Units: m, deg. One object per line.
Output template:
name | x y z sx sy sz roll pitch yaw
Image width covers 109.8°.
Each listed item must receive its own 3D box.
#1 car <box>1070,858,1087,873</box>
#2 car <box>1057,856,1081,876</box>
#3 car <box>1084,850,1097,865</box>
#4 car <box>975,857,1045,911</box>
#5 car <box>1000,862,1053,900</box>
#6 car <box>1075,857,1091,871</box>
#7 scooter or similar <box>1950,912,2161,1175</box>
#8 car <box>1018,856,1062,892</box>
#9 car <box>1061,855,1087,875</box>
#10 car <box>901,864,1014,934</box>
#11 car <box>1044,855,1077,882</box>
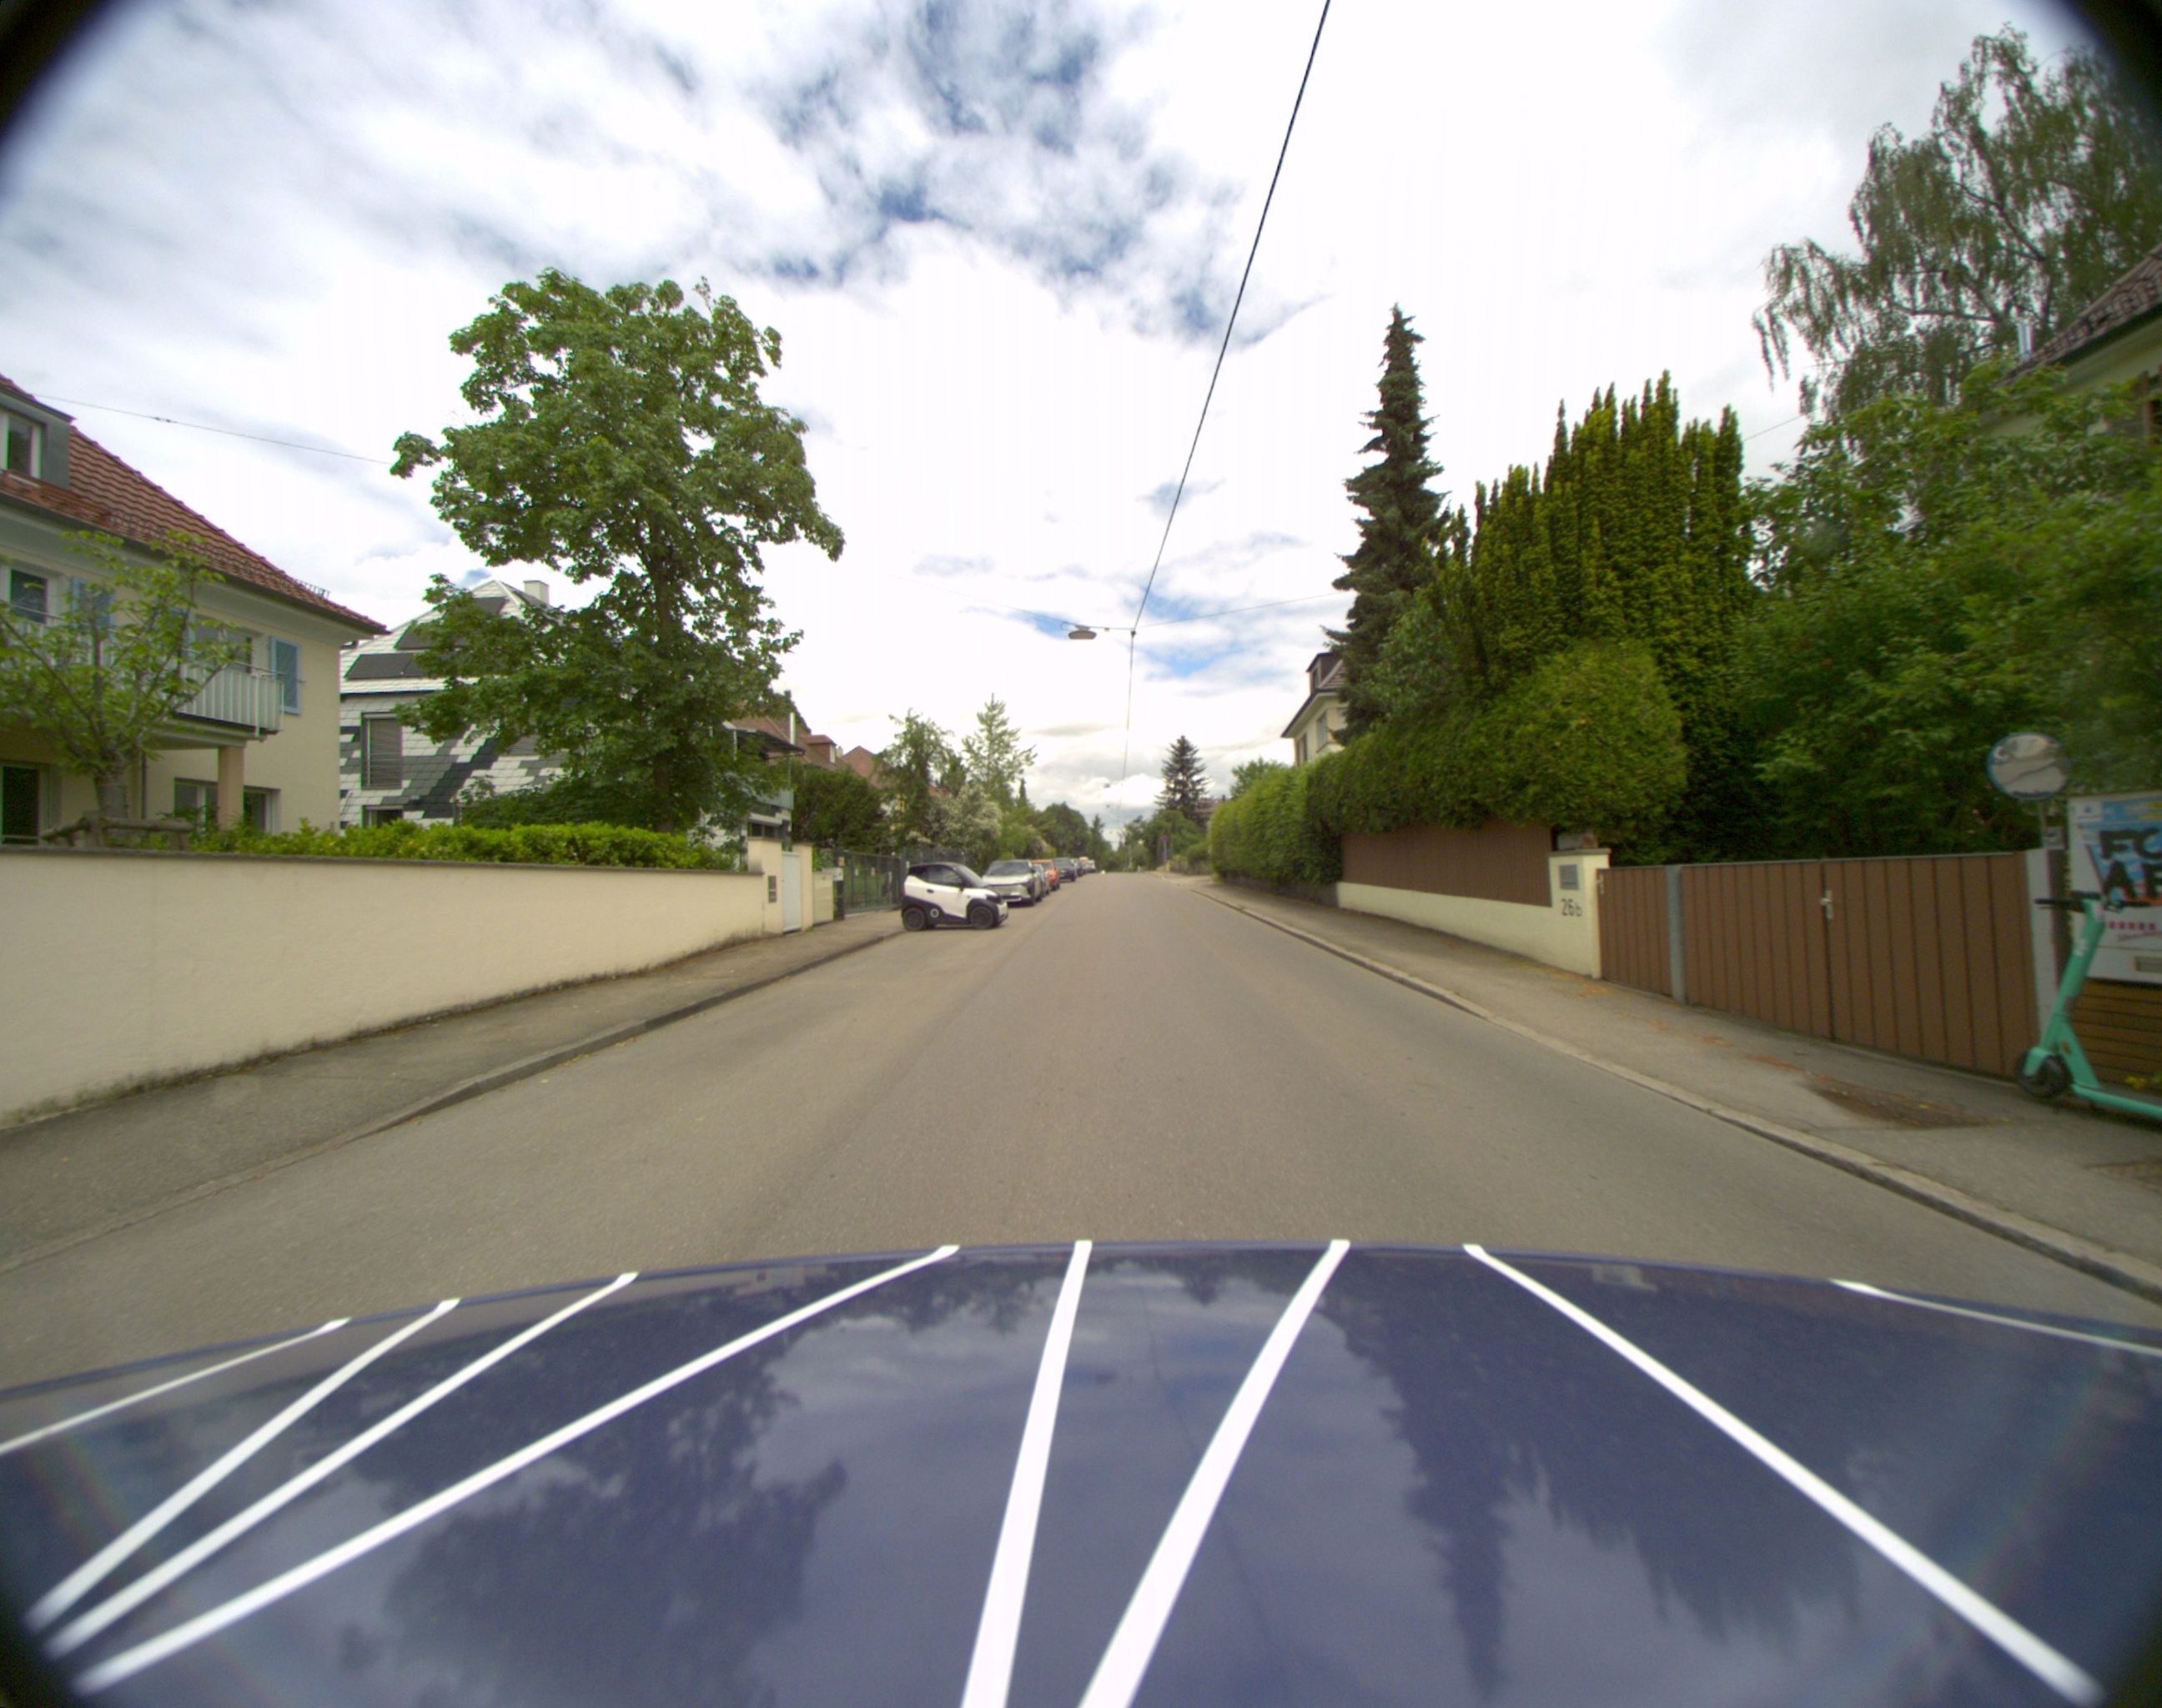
car | -0.258 1.135 77.857 1.721 1.451 4.141 -2 -1 0
car | -0.872 0.909 58.157 1.602 1.501 3.014 -2 -1 3
car | 1.508 0.600 119.470 1.853 2.210 5.368 -3 -1 1
car | -2.402 0.983 26.830 1.833 1.614 4.492 -2 0 2
car | -2.213 1.095 32.074 1.720 1.374 4.236 -2 0 2
car | 0.310 1.310 100.233 1.878 1.621 4.128 -2 -3 2
scooter or similar | 5.292 0.929 3.817 0.392 1.164 1.270 -2 0 1
car | -2.034 0.977 38.779 1.855 1.617 4.169 -3 0 1
car | -0.556 0.896 64.609 1.805 1.582 4.142 -2 0 4
car | -2.862 1.029 17.777 2.291 1.515 1.319 -1 0 7
car | -1.333 0.942 51.203 1.955 1.617 4.376 -3 0 0
